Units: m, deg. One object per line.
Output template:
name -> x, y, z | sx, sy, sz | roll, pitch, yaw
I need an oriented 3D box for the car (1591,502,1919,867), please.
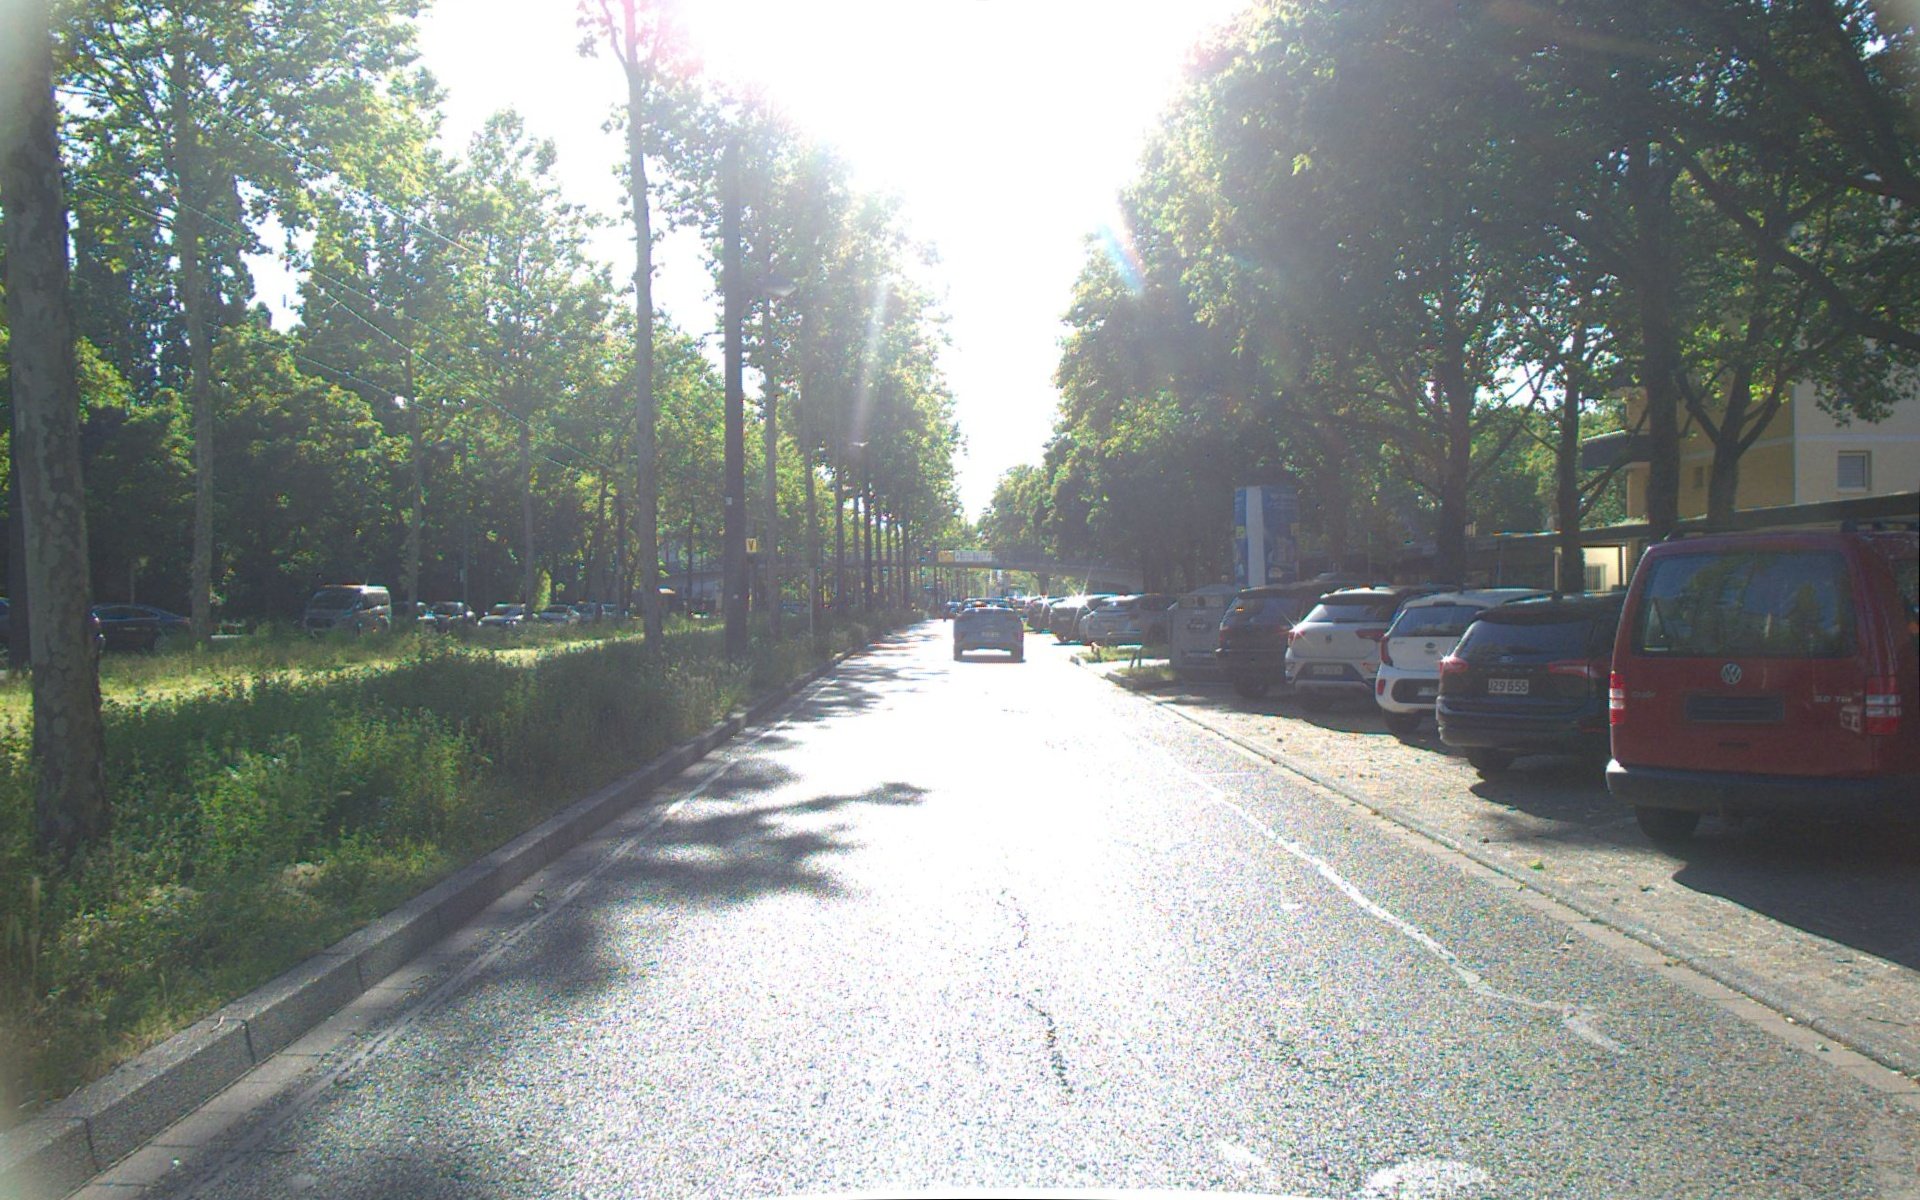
car -> 5.709, 0.396, 10.350 | 4.051, 1.842, 1.626 | -2, 0, -42

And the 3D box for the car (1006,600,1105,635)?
car -> 4.303, 0.784, 73.747 | 1.945, 1.484, 4.595 | -1, 0, 43

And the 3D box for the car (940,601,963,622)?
car -> -0.650, 0.914, 133.223 | 1.811, 1.562, 3.866 | 0, 0, 0

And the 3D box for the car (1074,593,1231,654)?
car -> 5.252, 0.616, 44.694 | 4.461, 1.469, 1.826 | -2, 0, -45

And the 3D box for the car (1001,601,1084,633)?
car -> 4.477, 0.910, 89.235 | 4.587, 1.710, 1.827 | 1, -1, -44

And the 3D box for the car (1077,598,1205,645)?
car -> 5.748, 0.663, 52.161 | 4.297, 1.320, 1.664 | -2, 0, -45

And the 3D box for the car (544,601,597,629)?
car -> -22.225, 0.831, 94.522 | 1.952, 1.478, 4.000 | 2, 0, 1

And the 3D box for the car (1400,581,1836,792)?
car -> 5.735, 0.644, 14.232 | 4.042, 1.507, 1.629 | -2, 0, -37

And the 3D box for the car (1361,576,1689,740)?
car -> 6.297, 0.552, 18.222 | 4.052, 1.610, 1.753 | -1, 0, -43

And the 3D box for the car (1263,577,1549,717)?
car -> 5.880, 0.553, 21.571 | 4.054, 1.610, 1.753 | -2, 0, -44

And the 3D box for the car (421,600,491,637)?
car -> -21.860, 0.789, 71.912 | 1.834, 1.478, 3.575 | 2, 0, 1

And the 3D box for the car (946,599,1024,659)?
car -> 0.618, 0.705, 42.353 | 1.883, 1.436, 4.000 | 0, 0, 0

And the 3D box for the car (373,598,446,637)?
car -> -22.283, 0.700, 67.024 | 1.611, 1.478, 3.664 | 2, 0, 1

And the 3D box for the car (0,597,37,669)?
car -> -24.315, 0.795, 38.711 | 4.452, 1.705, 1.767 | 0, 0, -44

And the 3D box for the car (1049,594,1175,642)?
car -> 5.084, 0.601, 55.037 | 4.297, 1.449, 1.826 | -2, 0, -45

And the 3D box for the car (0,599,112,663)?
car -> -24.403, 0.791, 42.416 | 4.452, 1.596, 1.767 | 0, 0, -44

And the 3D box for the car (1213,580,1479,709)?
car -> 5.768, 0.590, 24.469 | 4.280, 1.747, 1.612 | 0, 0, -40

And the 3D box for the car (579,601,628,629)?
car -> -21.924, 0.921, 101.763 | 1.952, 1.617, 4.168 | 2, 0, 1

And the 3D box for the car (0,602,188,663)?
car -> -24.193, 0.875, 46.197 | 4.452, 1.596, 1.767 | 0, 0, -44

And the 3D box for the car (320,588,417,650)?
car -> -21.743, 0.666, 61.005 | 1.611, 2.130, 4.915 | 2, 0, 1

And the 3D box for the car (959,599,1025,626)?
car -> 2.180, 0.860, 112.127 | 4.587, 1.799, 1.827 | 1, -1, -44

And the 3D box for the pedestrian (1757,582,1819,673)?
pedestrian -> 18.057, 0.592, 36.093 | 0.856, 1.947, 0.869 | 0, 0, -9
